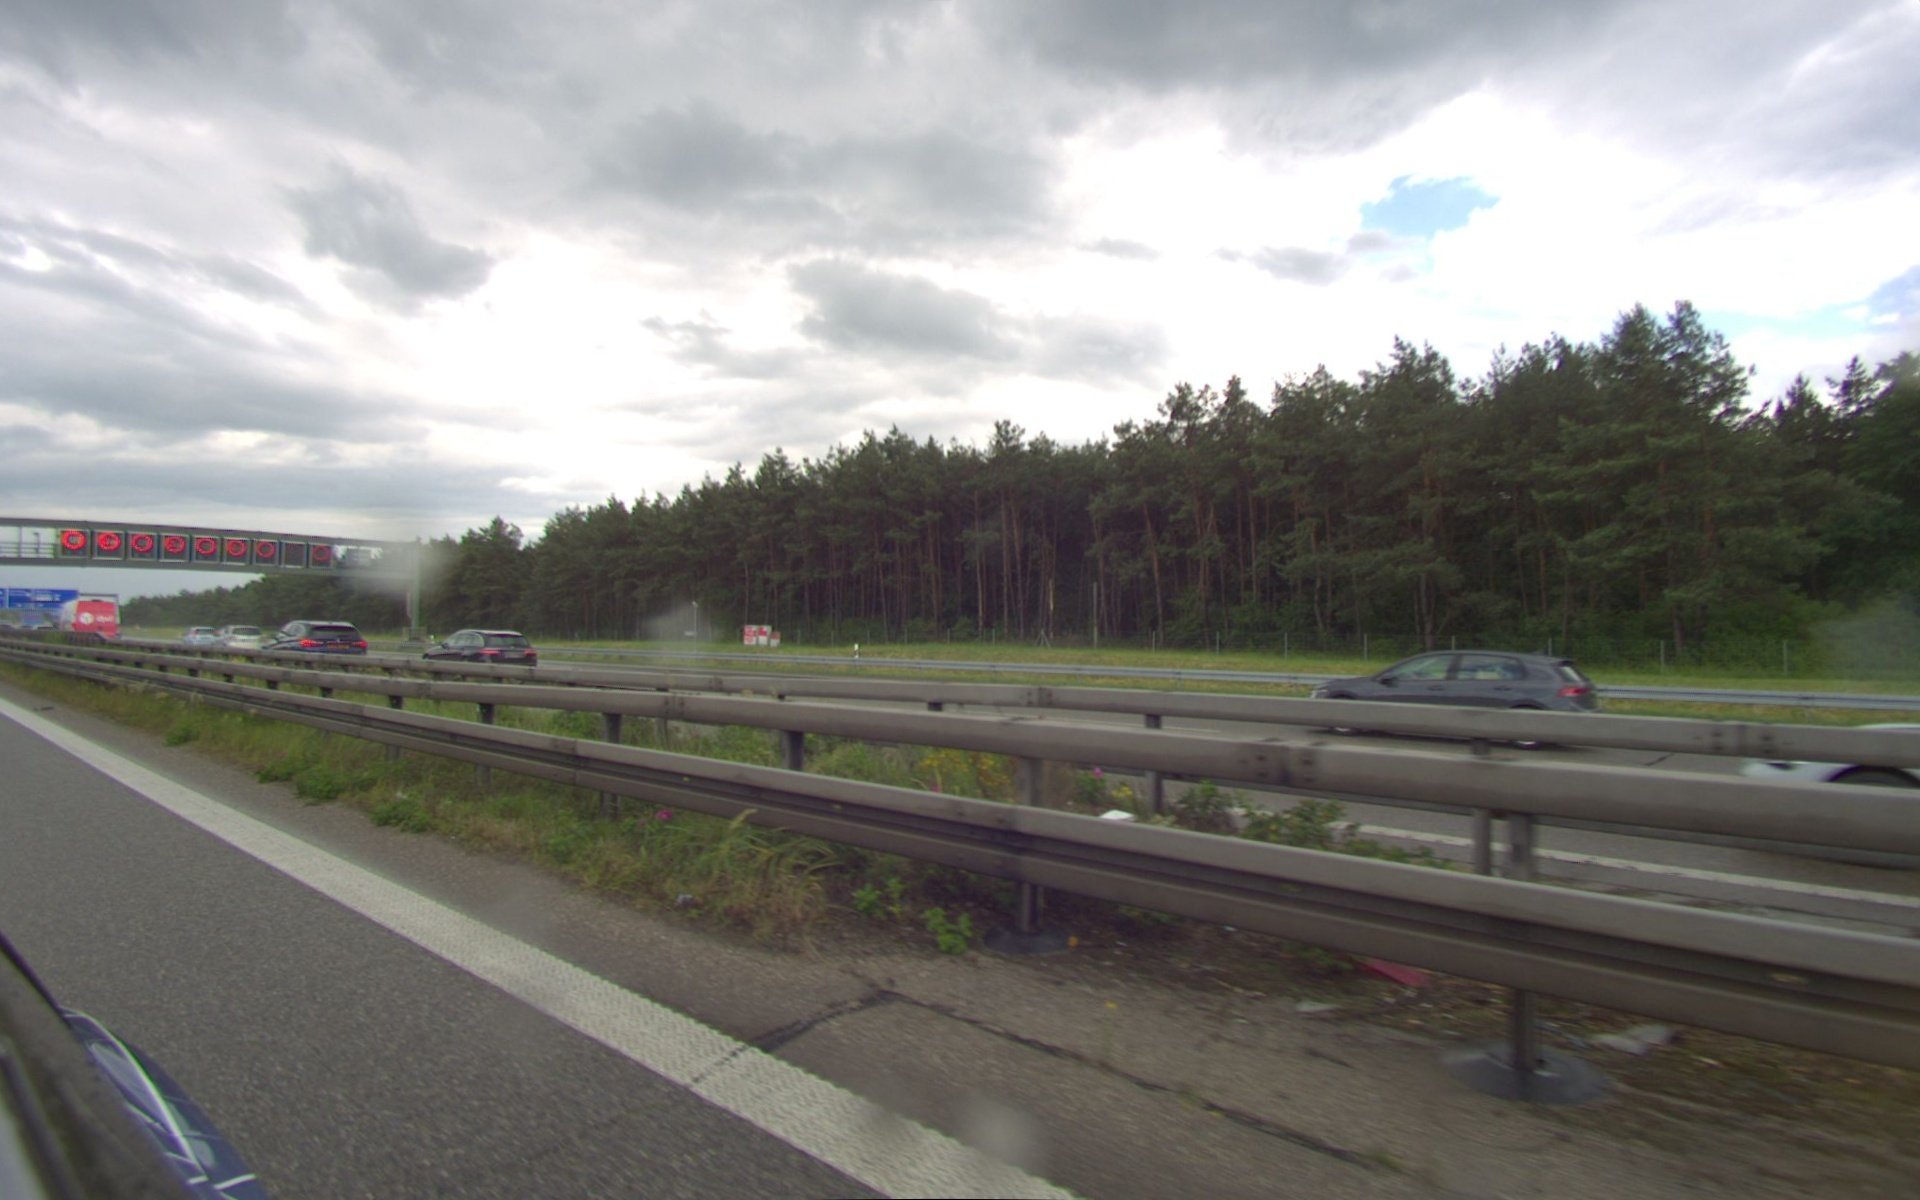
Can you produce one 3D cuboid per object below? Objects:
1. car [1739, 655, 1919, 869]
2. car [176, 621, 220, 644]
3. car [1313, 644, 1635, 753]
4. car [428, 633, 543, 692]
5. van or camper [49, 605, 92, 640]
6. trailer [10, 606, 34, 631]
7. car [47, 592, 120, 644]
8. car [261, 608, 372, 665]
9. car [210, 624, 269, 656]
[{"bbox_3d":[7.264,1.002,6.030,4.060,1.270,1.676,-2,-3,41],"label":"car"},{"bbox_3d":[-55.530,2.353,73.735,4.153,1.608,1.705,-1,-1,41],"label":"car"},{"bbox_3d":[7.864,1.429,15.706,4.181,1.406,1.706,-1,-4,41],"label":"car"},{"bbox_3d":[-14.199,1.802,30.213,3.845,1.591,1.734,-1,-1,41],"label":"car"},{"bbox_3d":[-81.154,2.082,92.301,7.545,3.136,2.275,-2,-3,44],"label":"van or camper"},{"bbox_3d":[-168.483,3.284,181.718,14.628,4.272,2.075,-1,1,44],"label":"trailer"},{"bbox_3d":[-47.585,0.973,54.880,6.670,2.682,2.110,-1,-2,41],"label":"car"},{"bbox_3d":[-18.550,1.031,29.112,3.721,1.554,1.771,-1,-2,42],"label":"car"},{"bbox_3d":[-36.983,2.019,51.943,3.954,1.591,1.733,-1,-1,44],"label":"car"}]
